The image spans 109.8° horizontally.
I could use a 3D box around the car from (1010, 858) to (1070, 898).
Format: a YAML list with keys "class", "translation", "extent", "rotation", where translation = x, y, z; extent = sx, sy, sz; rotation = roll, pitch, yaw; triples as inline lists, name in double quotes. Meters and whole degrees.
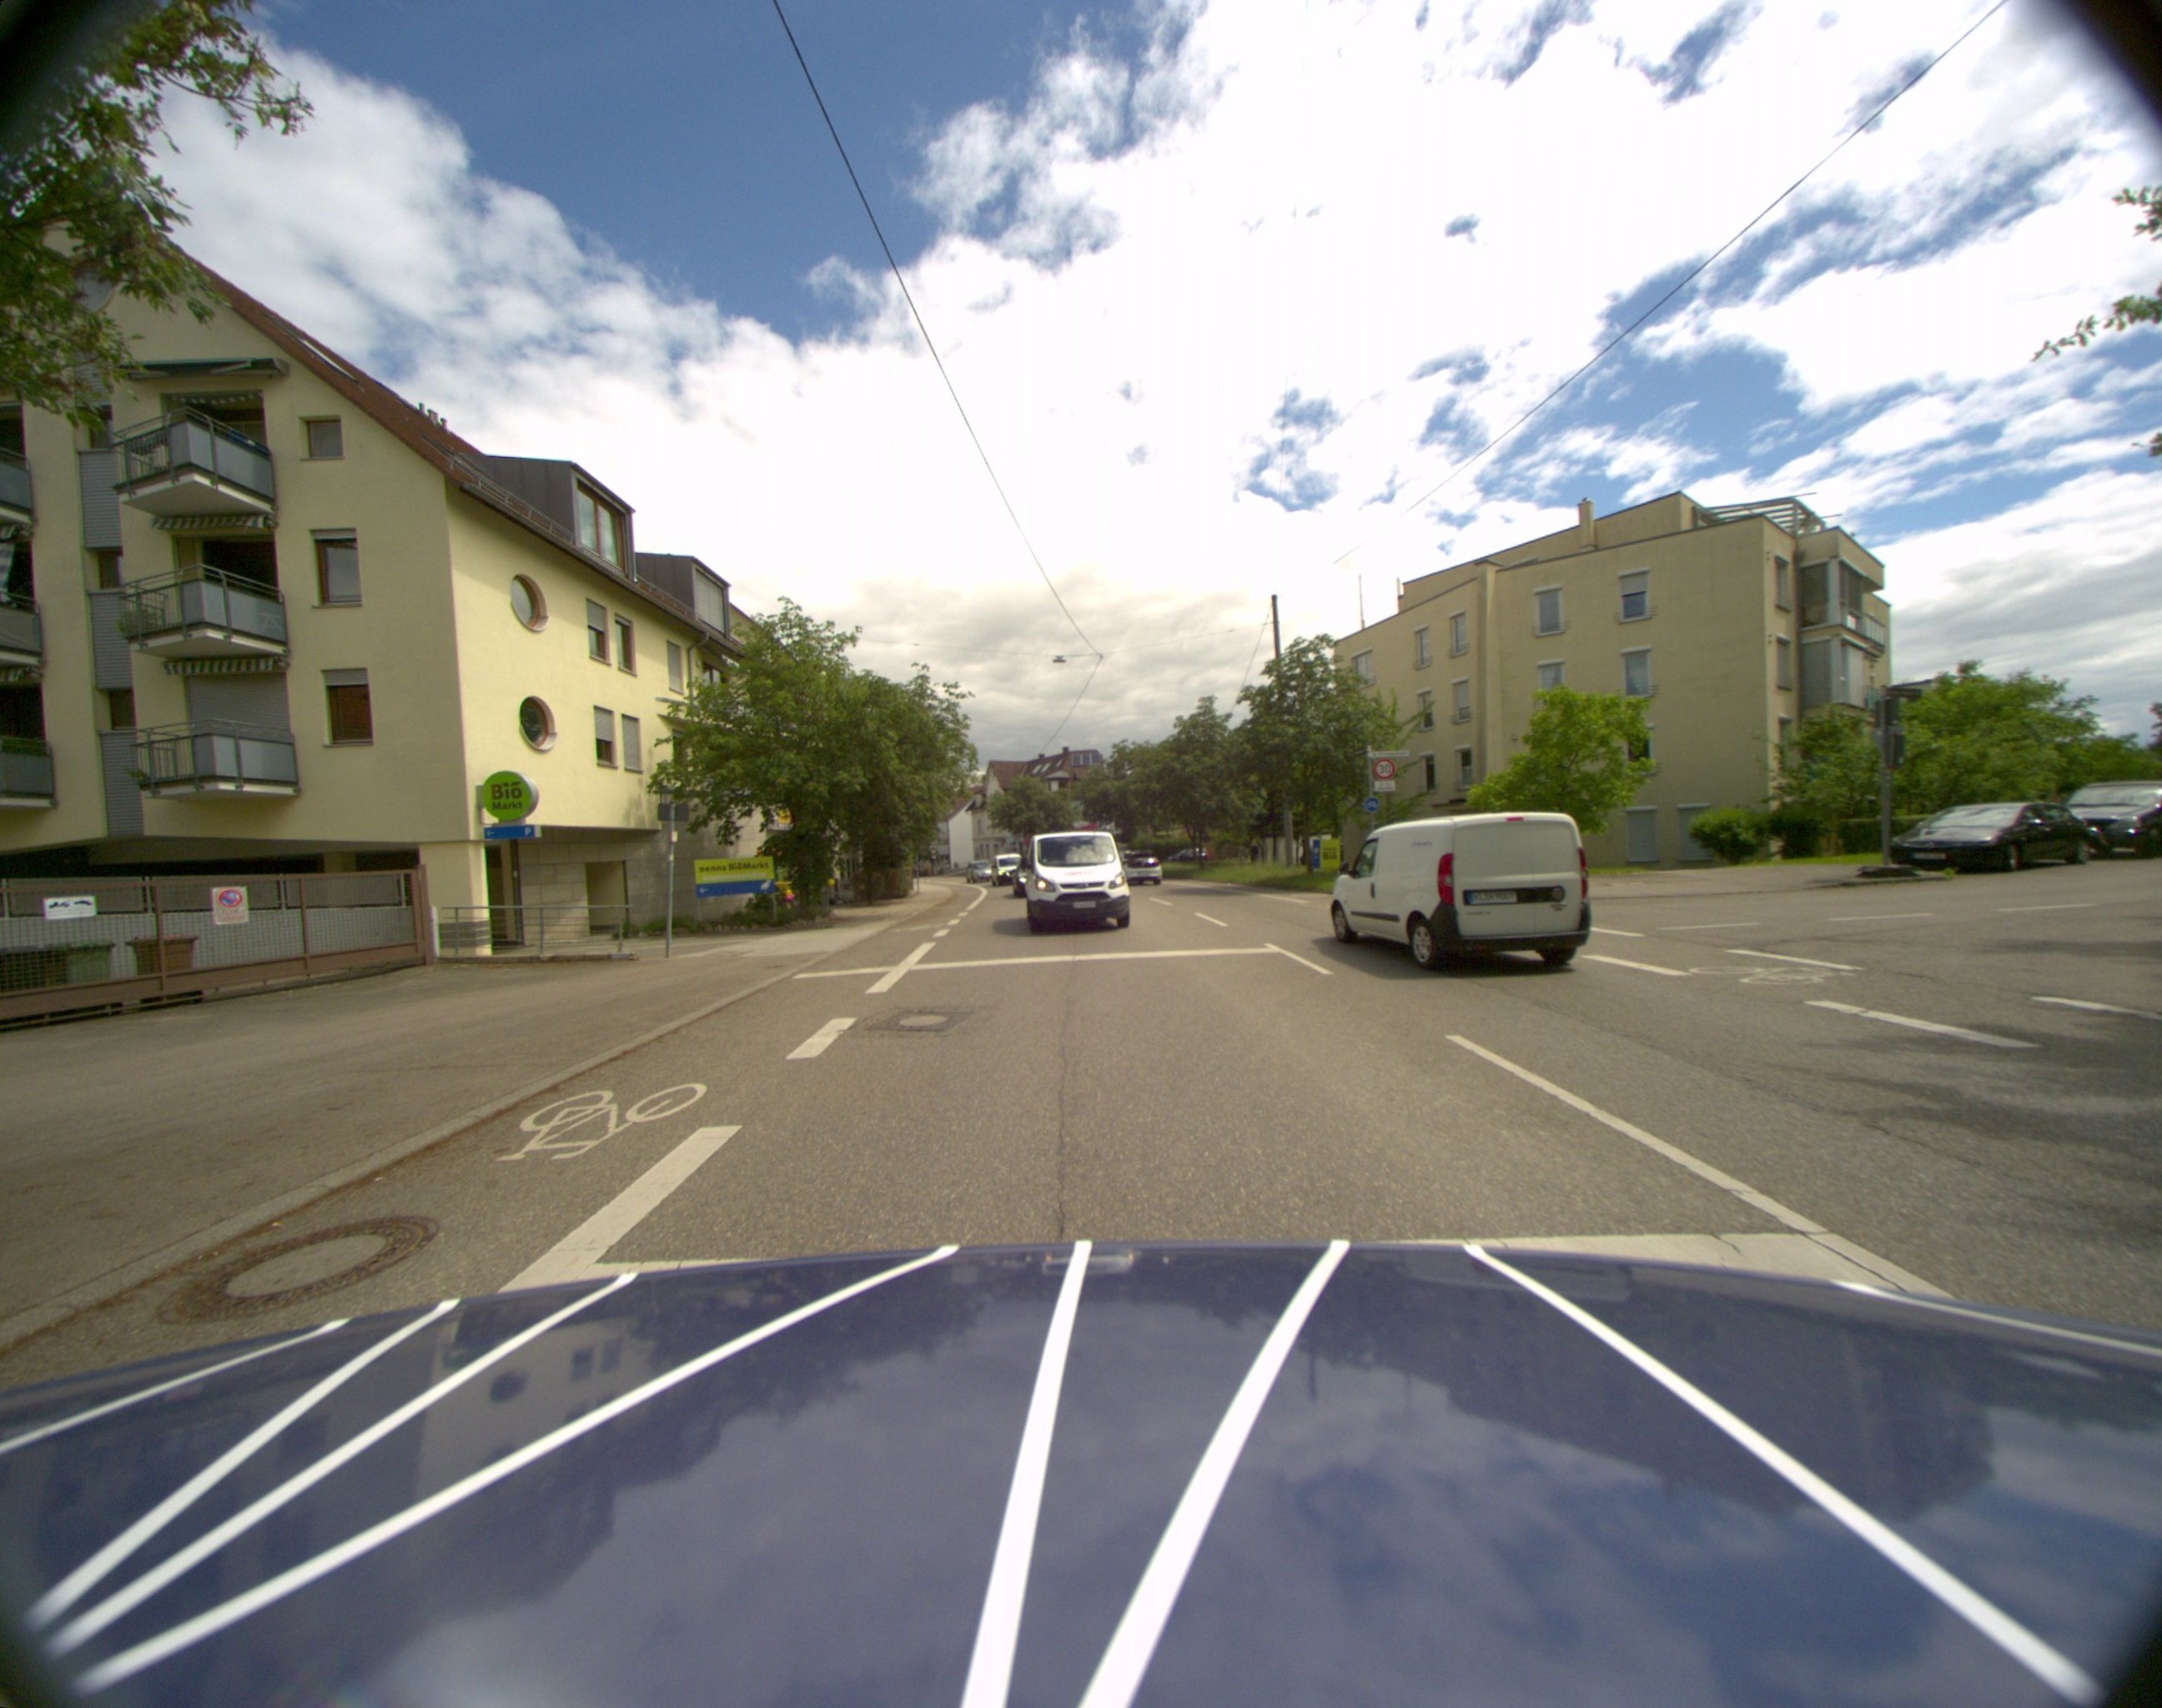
- class: "car"
  translation: [-1.714, 0.896, 30.260]
  extent: [1.841, 1.382, 3.996]
  rotation: [-3, 0, -10]

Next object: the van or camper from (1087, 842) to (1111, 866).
- class: "van or camper"
  translation: [1.718, -0.021, 73.578]
  extent: [1.794, 2.077, 3.808]
  rotation: [-6, 2, -5]

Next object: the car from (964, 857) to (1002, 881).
- class: "car"
  translation: [-7.060, 1.044, 54.489]
  extent: [1.695, 1.478, 3.993]
  rotation: [-6, 2, -21]

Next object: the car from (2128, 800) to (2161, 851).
- class: "car"
  translation: [31.949, -0.944, 21.243]
  extent: [4.002, 1.325, 1.971]
  rotation: [-6, 2, -18]

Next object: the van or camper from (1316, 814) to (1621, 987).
- class: "van or camper"
  translation: [4.843, 0.487, 10.342]
  extent: [1.865, 1.766, 4.380]
  rotation: [-3, 0, 0]

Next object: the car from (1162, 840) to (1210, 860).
- class: "car"
  translation: [9.732, -0.376, 70.605]
  extent: [3.978, 1.672, 1.716]
  rotation: [-4, 1, -10]

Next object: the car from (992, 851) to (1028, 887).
- class: "car"
  translation: [-4.172, 0.838, 44.582]
  extent: [1.853, 1.805, 3.997]
  rotation: [-6, 2, -6]

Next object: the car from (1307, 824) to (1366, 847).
- class: "car"
  translation: [17.244, -1.219, 51.245]
  extent: [4.007, 1.411, 1.789]
  rotation: [-1, -1, -36]

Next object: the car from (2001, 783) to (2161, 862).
- class: "car"
  translation: [25.490, -0.829, 18.701]
  extent: [4.795, 1.594, 2.098]
  rotation: [-5, 3, -19]

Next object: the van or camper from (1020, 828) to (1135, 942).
- class: "van or camper"
  translation: [-0.230, 0.568, 16.613]
  extent: [2.028, 2.002, 5.101]
  rotation: [-3, 0, -4]

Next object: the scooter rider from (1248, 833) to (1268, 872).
- class: "scooter rider"
  translation: [9.490, -0.098, 40.742]
  extent: [0.678, 2.002, 0.794]
  rotation: [-6, 2, -7]

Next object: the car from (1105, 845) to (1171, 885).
- class: "car"
  translation: [2.465, 0.429, 33.826]
  extent: [1.905, 1.571, 3.995]
  rotation: [-2, 2, -10]

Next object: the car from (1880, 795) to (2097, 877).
- class: "car"
  translation: [20.384, -0.418, 17.078]
  extent: [4.155, 1.390, 1.735]
  rotation: [-6, 2, -19]
